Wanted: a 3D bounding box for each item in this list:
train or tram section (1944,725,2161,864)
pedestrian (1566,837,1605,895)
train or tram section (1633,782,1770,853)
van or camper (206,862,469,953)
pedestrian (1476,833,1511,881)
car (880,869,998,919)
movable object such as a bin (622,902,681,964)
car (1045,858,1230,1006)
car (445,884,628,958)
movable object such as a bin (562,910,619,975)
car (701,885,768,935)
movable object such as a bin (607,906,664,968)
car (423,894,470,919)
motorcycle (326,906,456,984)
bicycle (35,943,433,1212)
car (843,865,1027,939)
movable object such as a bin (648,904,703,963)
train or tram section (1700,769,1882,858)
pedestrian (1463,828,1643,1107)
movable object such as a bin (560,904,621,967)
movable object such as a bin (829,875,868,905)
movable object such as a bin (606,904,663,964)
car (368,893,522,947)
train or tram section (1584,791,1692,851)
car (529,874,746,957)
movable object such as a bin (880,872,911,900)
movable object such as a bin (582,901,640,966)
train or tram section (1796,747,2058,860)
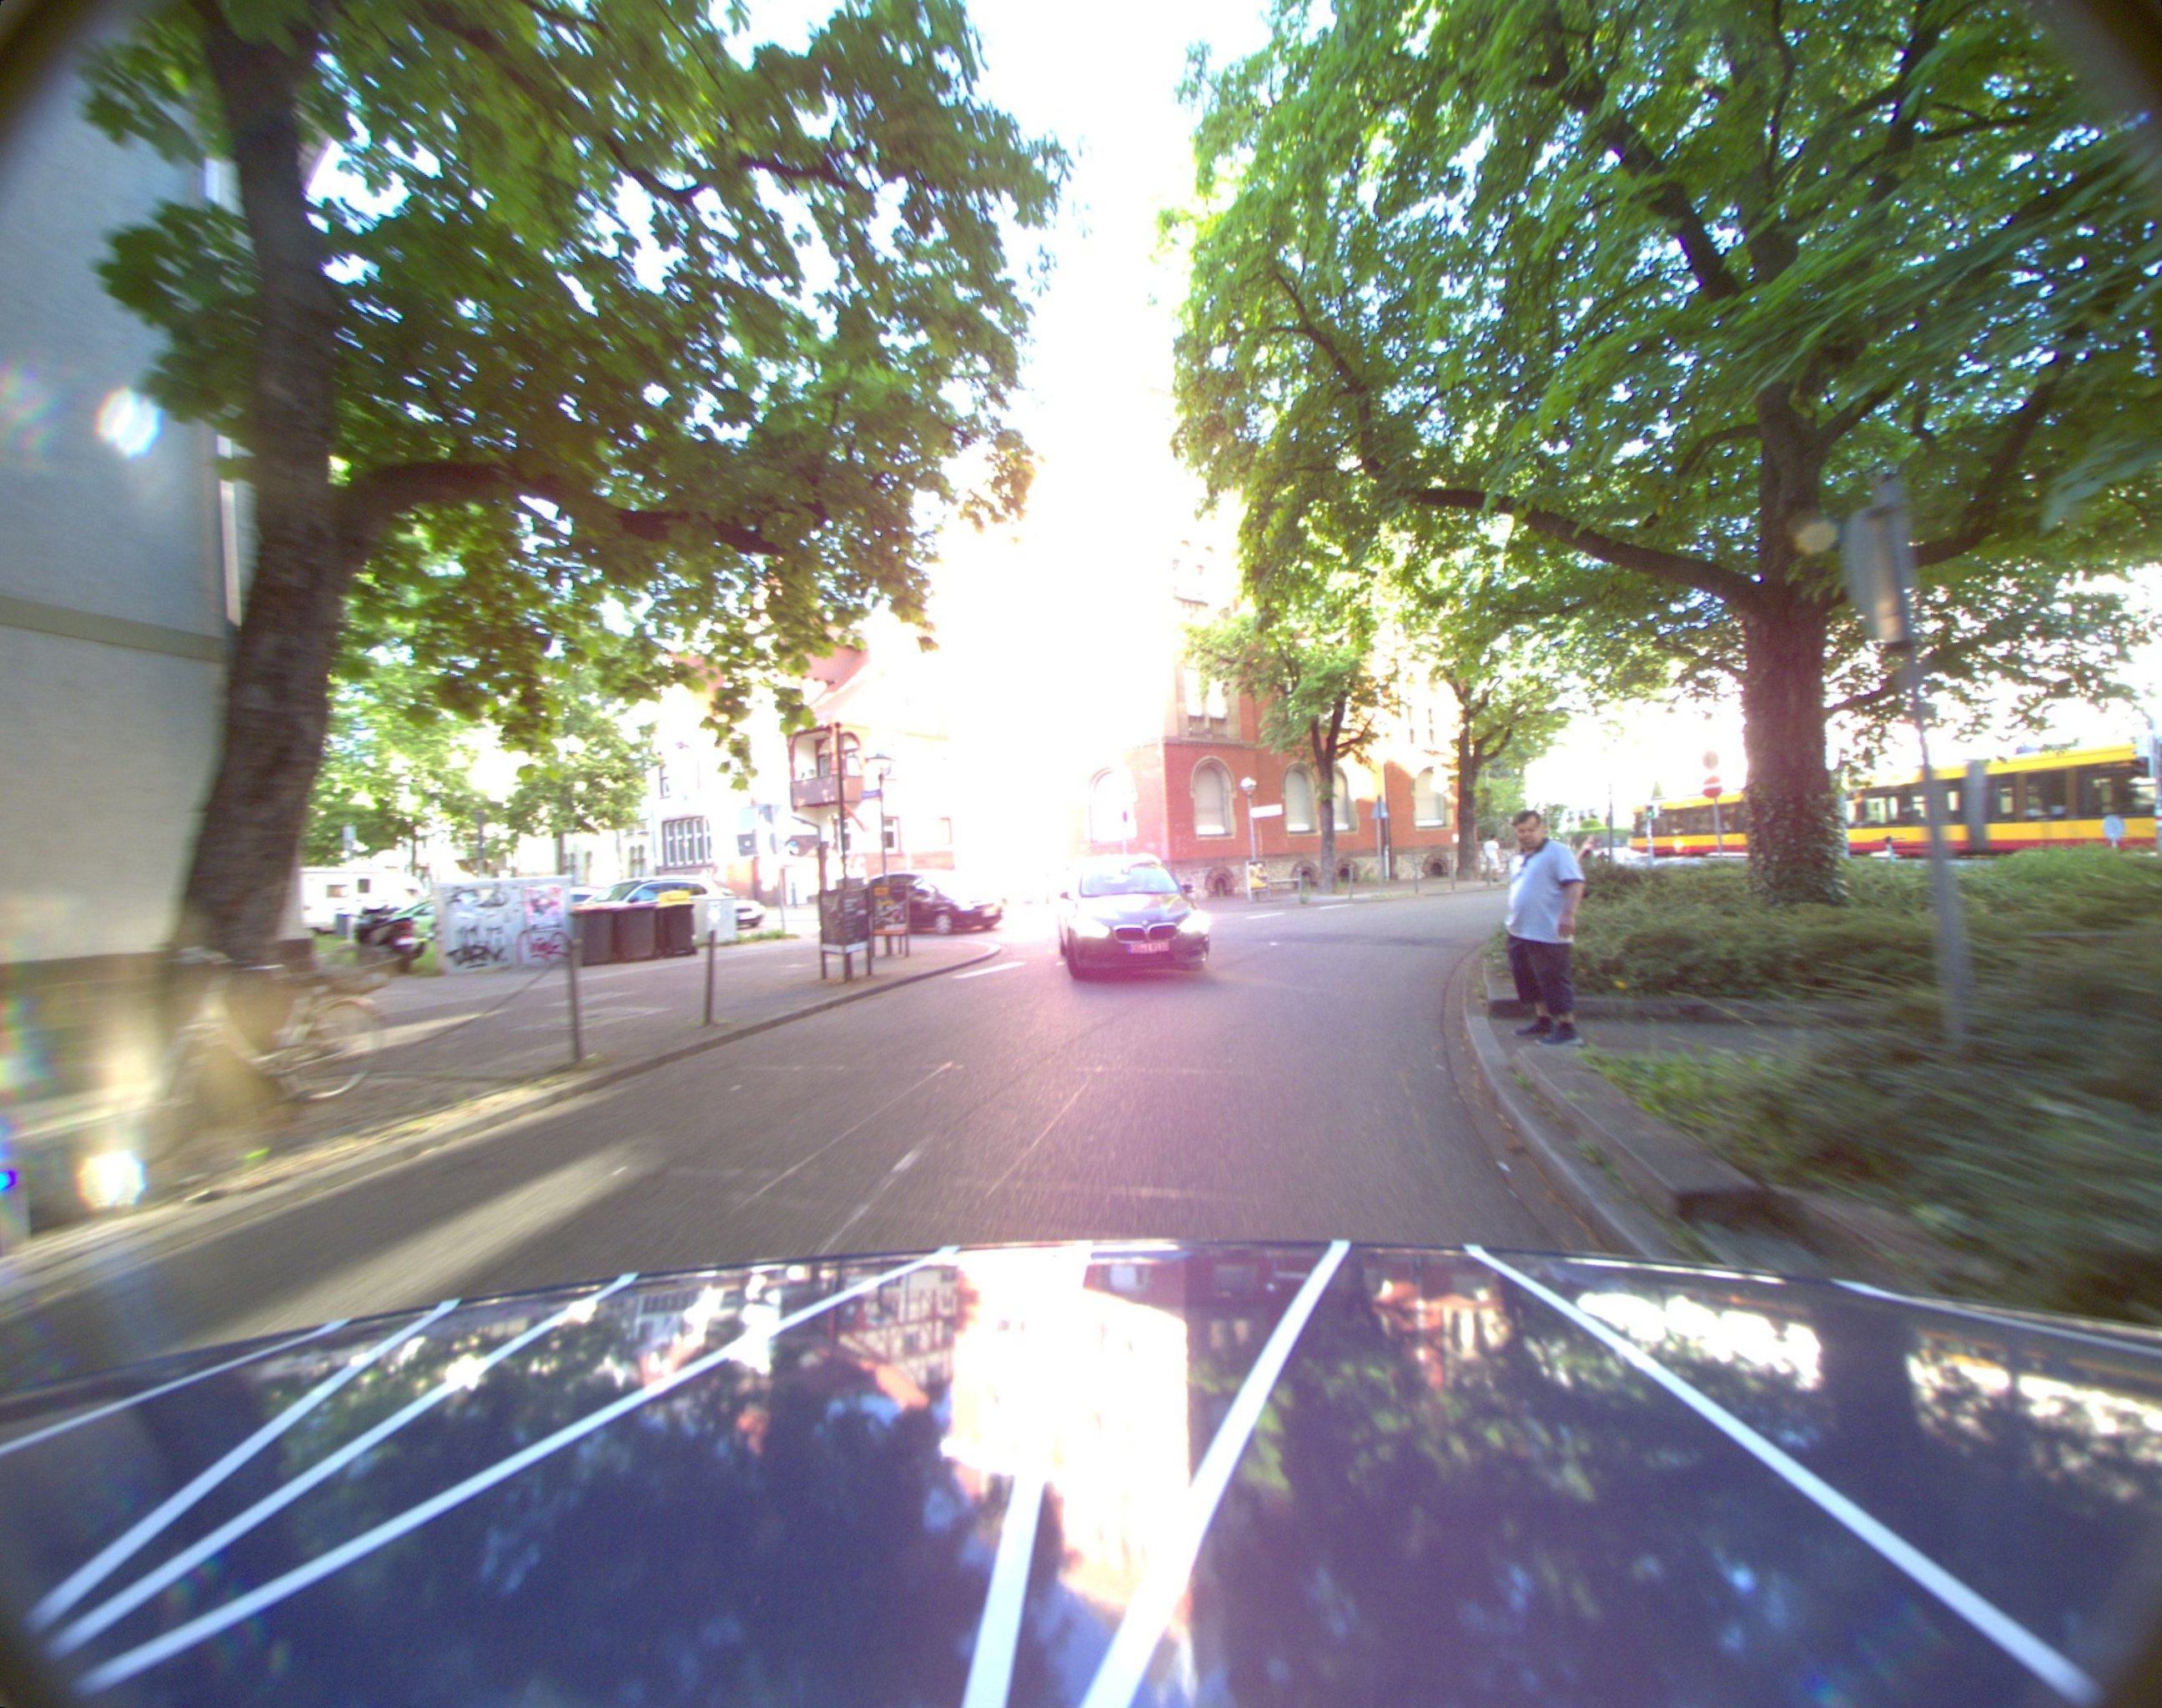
[{"bbox_3d":[29.897,-1.627,21.625,2.917,3.593,7.867,-3,0,13],"label":"train or tram section"},{"bbox_3d":[14.441,0.338,21.770,0.853,1.595,0.603,-3,0,34],"label":"pedestrian"},{"bbox_3d":[34.761,-1.940,42.964,2.969,3.487,7.195,-4,0,13],"label":"train or tram section"},{"bbox_3d":[-29.720,2.009,30.797,2.458,3.059,7.113,-3,0,32],"label":"van or camper"},{"bbox_3d":[14.574,0.114,26.867,0.859,1.633,0.871,-3,0,16],"label":"pedestrian"},{"bbox_3d":[-4.933,1.385,26.203,3.787,1.477,1.713,-3,2,35],"label":"car"},{"bbox_3d":[-8.566,1.564,15.175,0.700,1.146,0.741,-3,0,35],"label":"movable object such as a bin"},{"bbox_3d":[0.559,0.922,11.100,1.925,1.597,4.515,-3,0,-5],"label":"car"},{"bbox_3d":[-14.908,1.769,20.968,1.699,1.641,3.712,-3,0,38],"label":"car"},{"bbox_3d":[-8.777,1.573,13.595,0.672,1.077,0.594,-3,0,33],"label":"movable object such as a bin"},{"bbox_3d":[-11.768,1.833,26.013,1.797,1.387,4.248,-3,0,-22],"label":"car"},{"bbox_3d":[-8.283,1.534,14.129,0.703,1.069,0.632,-3,0,35],"label":"movable object such as a bin"},{"bbox_3d":[-44.675,3.715,53.492,2.853,1.501,1.691,-3,3,35],"label":"car"},{"bbox_3d":[-12.638,1.640,13.912,2.177,1.272,0.980,-3,-1,26],"label":"motorcycle"},{"bbox_3d":[-5.179,1.270,4.861,0.555,1.175,1.790,-3,0,-3],"label":"bicycle"},{"bbox_3d":[-3.775,1.237,19.524,4.251,1.584,2.003,-4,1,31],"label":"car"},{"bbox_3d":[-7.899,1.541,14.809,0.693,1.058,0.660,-3,0,35],"label":"movable object such as a bin"},{"bbox_3d":[33.162,-1.784,35.971,2.934,3.570,7.195,-4,0,13],"label":"train or tram section"},{"bbox_3d":[3.205,0.685,5.151,0.778,1.674,0.920,-3,0,44],"label":"pedestrian"},{"bbox_3d":[-9.646,1.586,14.945,0.700,1.146,0.741,-3,0,35],"label":"movable object such as a bin"},{"bbox_3d":[-10.888,1.668,35.639,0.966,1.291,1.383,-3,1,44],"label":"movable object such as a bin"},{"bbox_3d":[-9.176,1.629,15.620,0.714,1.146,0.741,-3,0,35],"label":"movable object such as a bin"},{"bbox_3d":[-21.186,2.152,25.420,1.673,1.496,3.608,-4,-2,35],"label":"car"},{"bbox_3d":[36.366,-2.070,49.986,2.969,3.487,7.195,-4,0,13],"label":"train or tram section"},{"bbox_3d":[-10.805,1.450,18.818,2.019,1.702,4.127,-4,-2,30],"label":"car"},{"bbox_3d":[-9.235,1.575,37.844,0.685,1.310,1.386,-3,0,28],"label":"movable object such as a bin"},{"bbox_3d":[-8.963,1.508,14.489,0.700,1.146,0.635,-4,1,35],"label":"movable object such as a bin"},{"bbox_3d":[31.564,-1.696,28.953,2.929,3.578,7.196,-4,0,13],"label":"train or tram section"}]
